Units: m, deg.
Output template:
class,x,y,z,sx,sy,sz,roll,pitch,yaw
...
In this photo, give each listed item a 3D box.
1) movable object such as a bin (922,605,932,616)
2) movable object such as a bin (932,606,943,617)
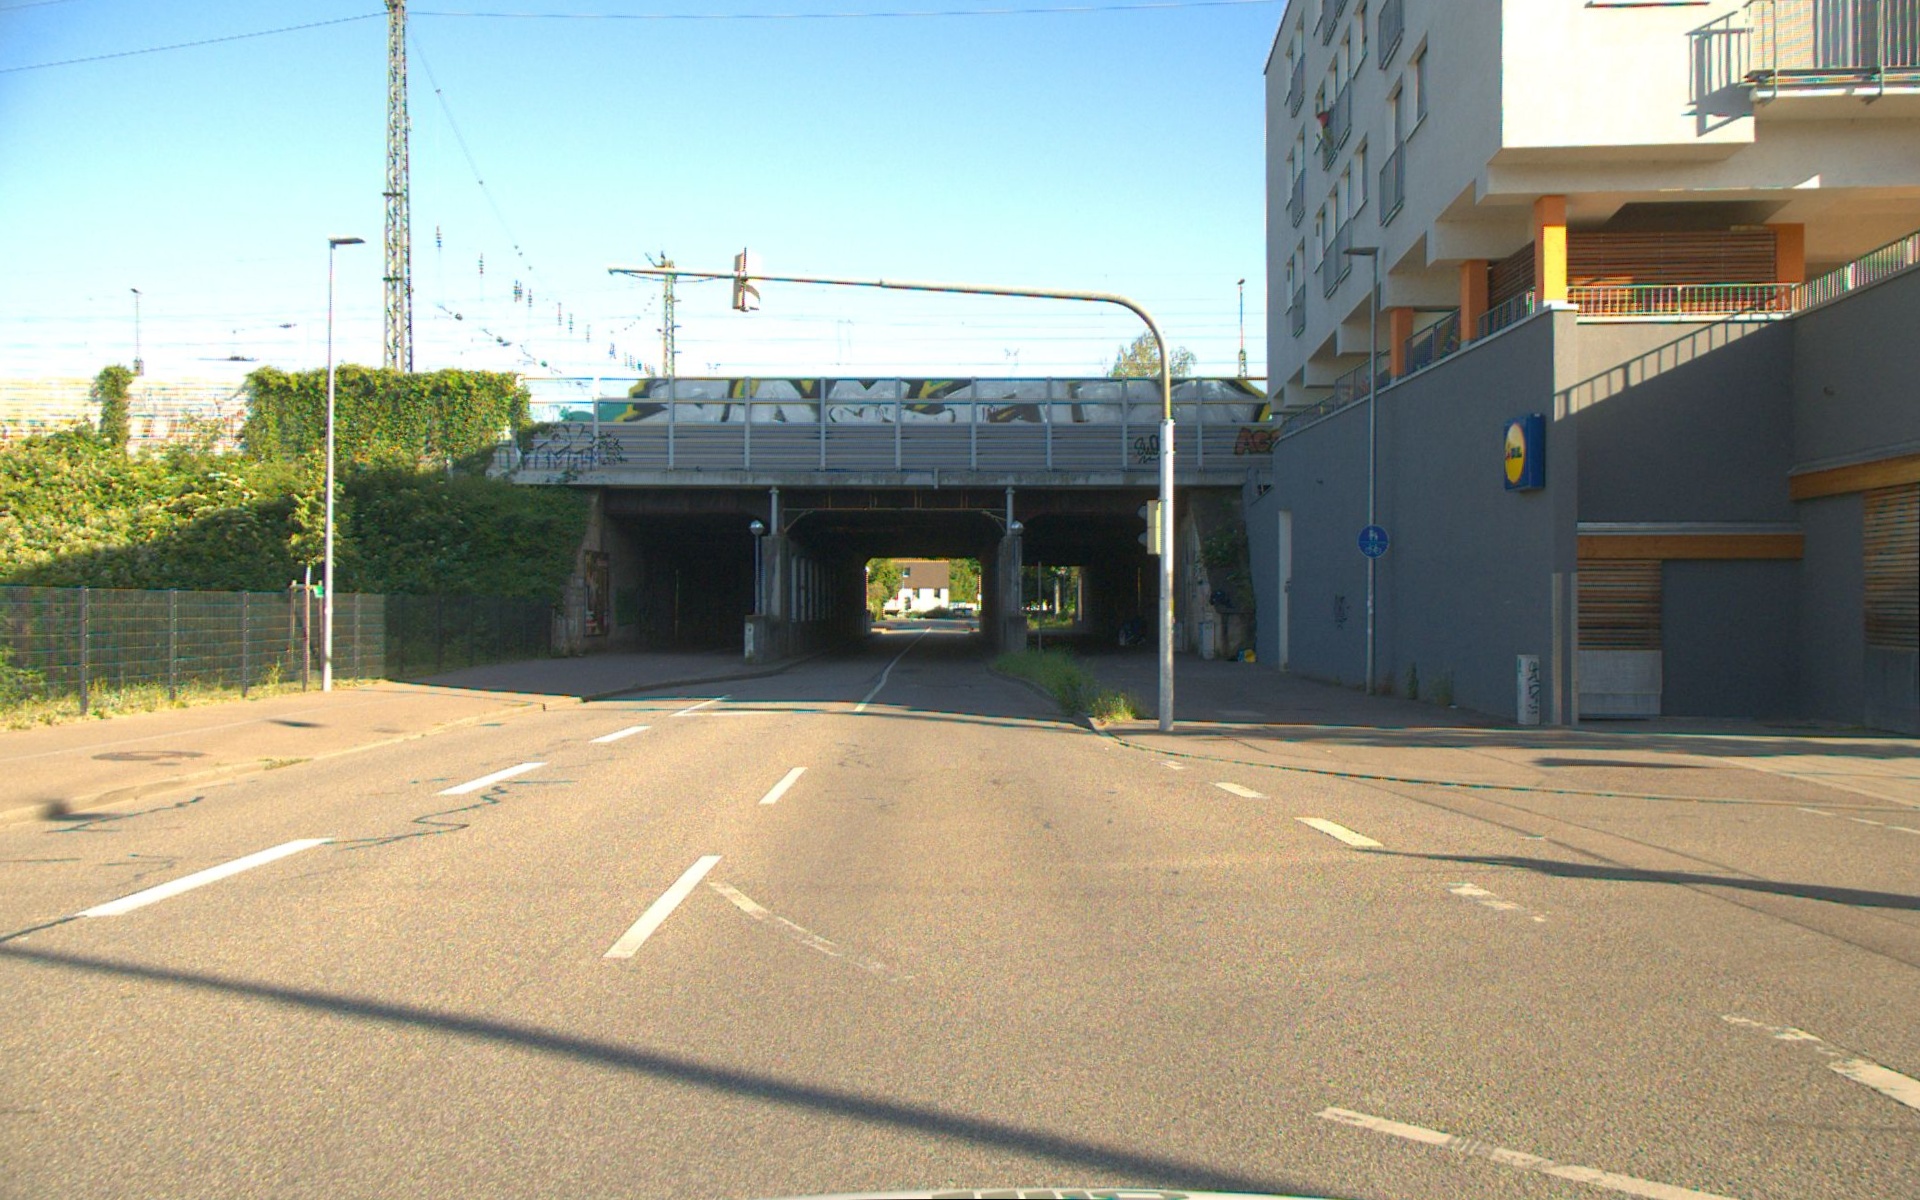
class,x,y,z,sx,sy,sz,roll,pitch,yaw
movable object such as a bin,-4.497,1.468,225.592,1.339,1.443,1.064,2,-1,-7
movable object such as a bin,-3.112,1.518,225.771,1.339,1.443,1.064,2,-1,-7
